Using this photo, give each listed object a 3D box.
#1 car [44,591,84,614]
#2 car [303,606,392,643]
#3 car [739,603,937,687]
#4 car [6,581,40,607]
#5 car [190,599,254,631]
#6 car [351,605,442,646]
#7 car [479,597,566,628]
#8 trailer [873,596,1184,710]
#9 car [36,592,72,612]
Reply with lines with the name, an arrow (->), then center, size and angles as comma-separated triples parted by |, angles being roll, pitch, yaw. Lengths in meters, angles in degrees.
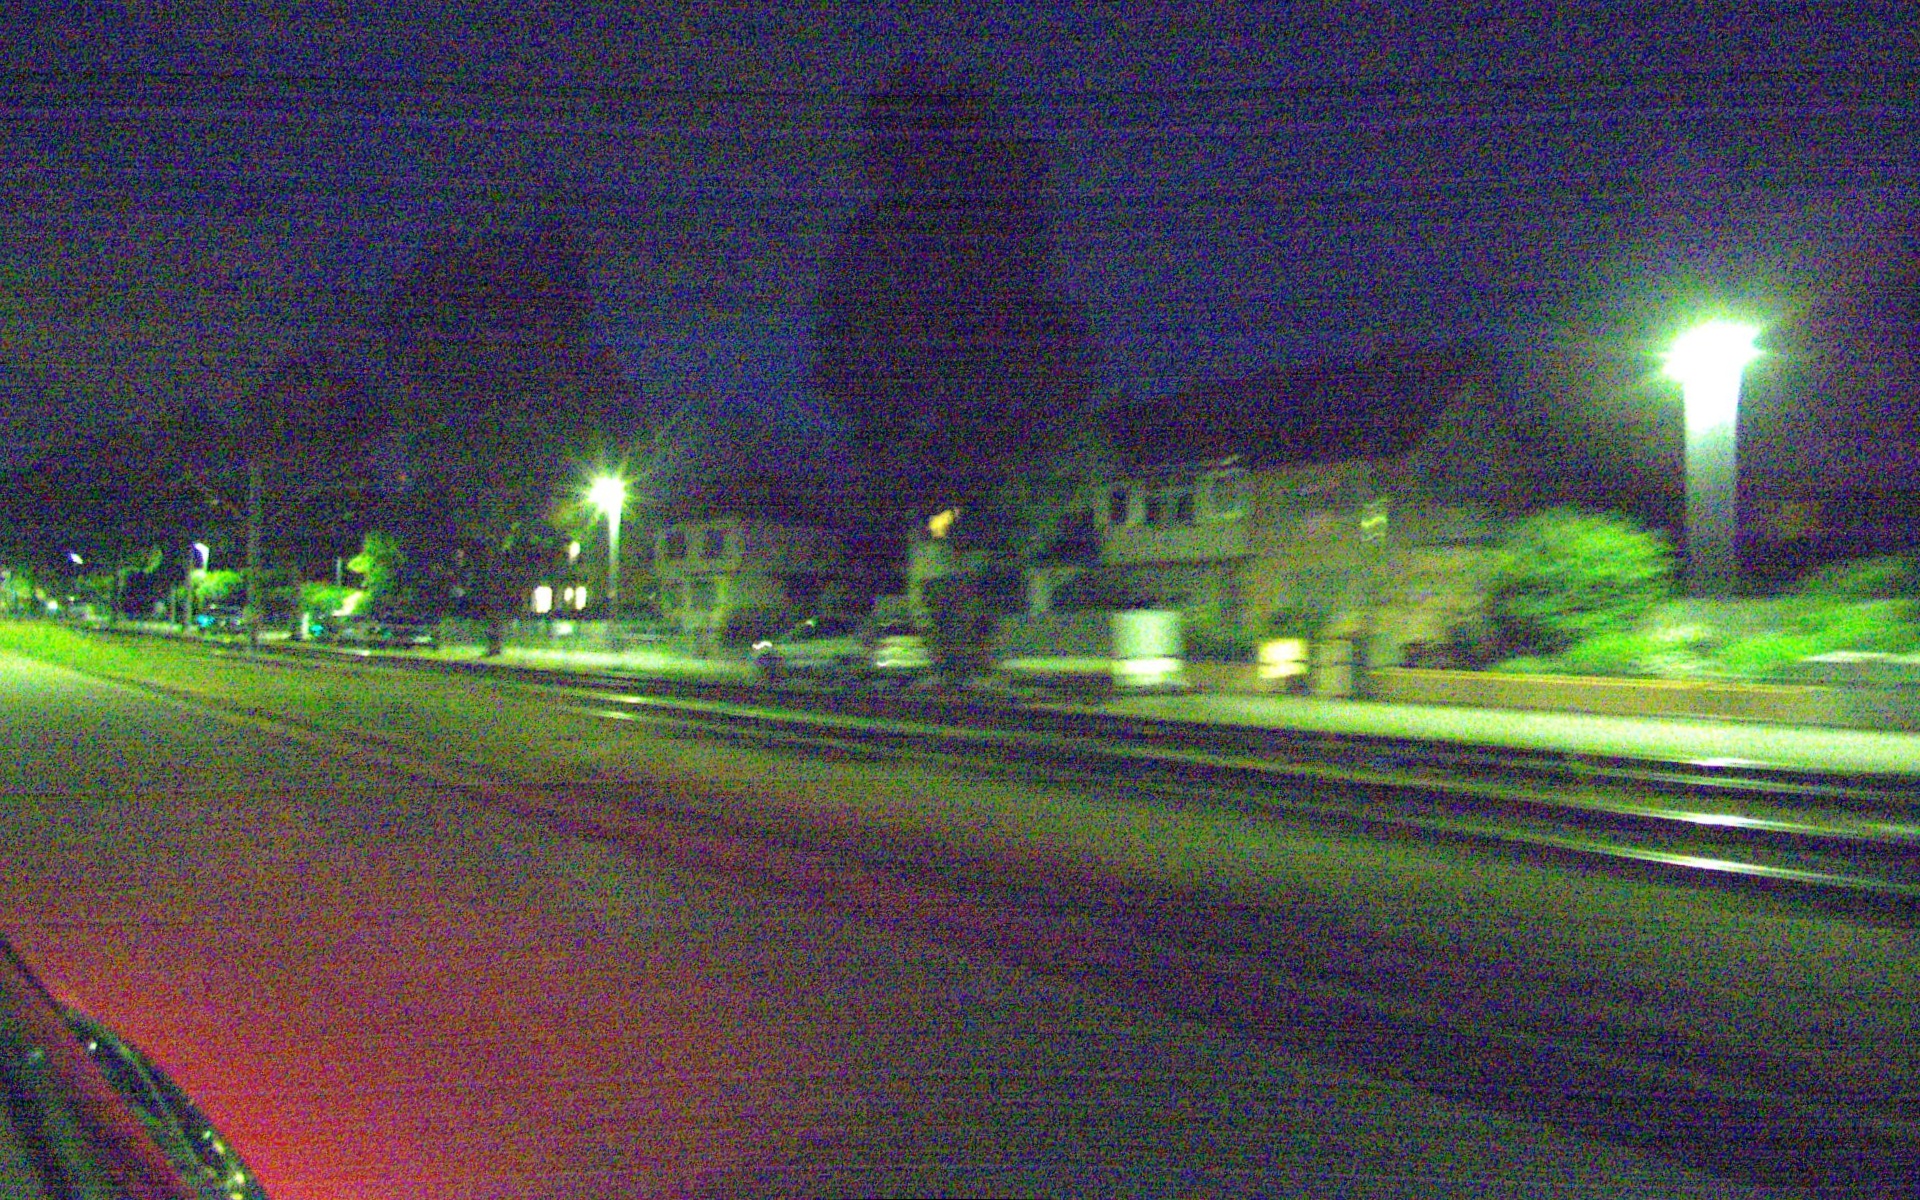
car -> -77.220, 0.221, 87.184 | 4.721, 1.784, 2.096 | 1, -4, 44
car -> -25.911, 1.018, 42.729 | 4.985, 1.375, 1.879 | 1, -4, 44
car -> -2.762, 0.945, 22.143 | 4.535, 1.589, 1.698 | 0, -4, 43
car -> -97.242, -0.650, 104.988 | 4.721, 2.532, 2.135 | 0, -4, 44
car -> -40.712, 0.814, 55.771 | 4.691, 1.580, 1.745 | 0, -6, 41
car -> -21.657, 0.980, 38.831 | 4.144, 1.375, 1.710 | 1, -4, 41
car -> -23.723, 0.643, 54.960 | 1.887, 1.554, 3.948 | 0, 1, 39
trailer -> 1.091, 0.899, 18.668 | 5.673, 1.794, 2.002 | 0, -4, 42
car -> -86.646, 0.174, 96.779 | 4.721, 1.784, 2.096 | 1, -4, 44
